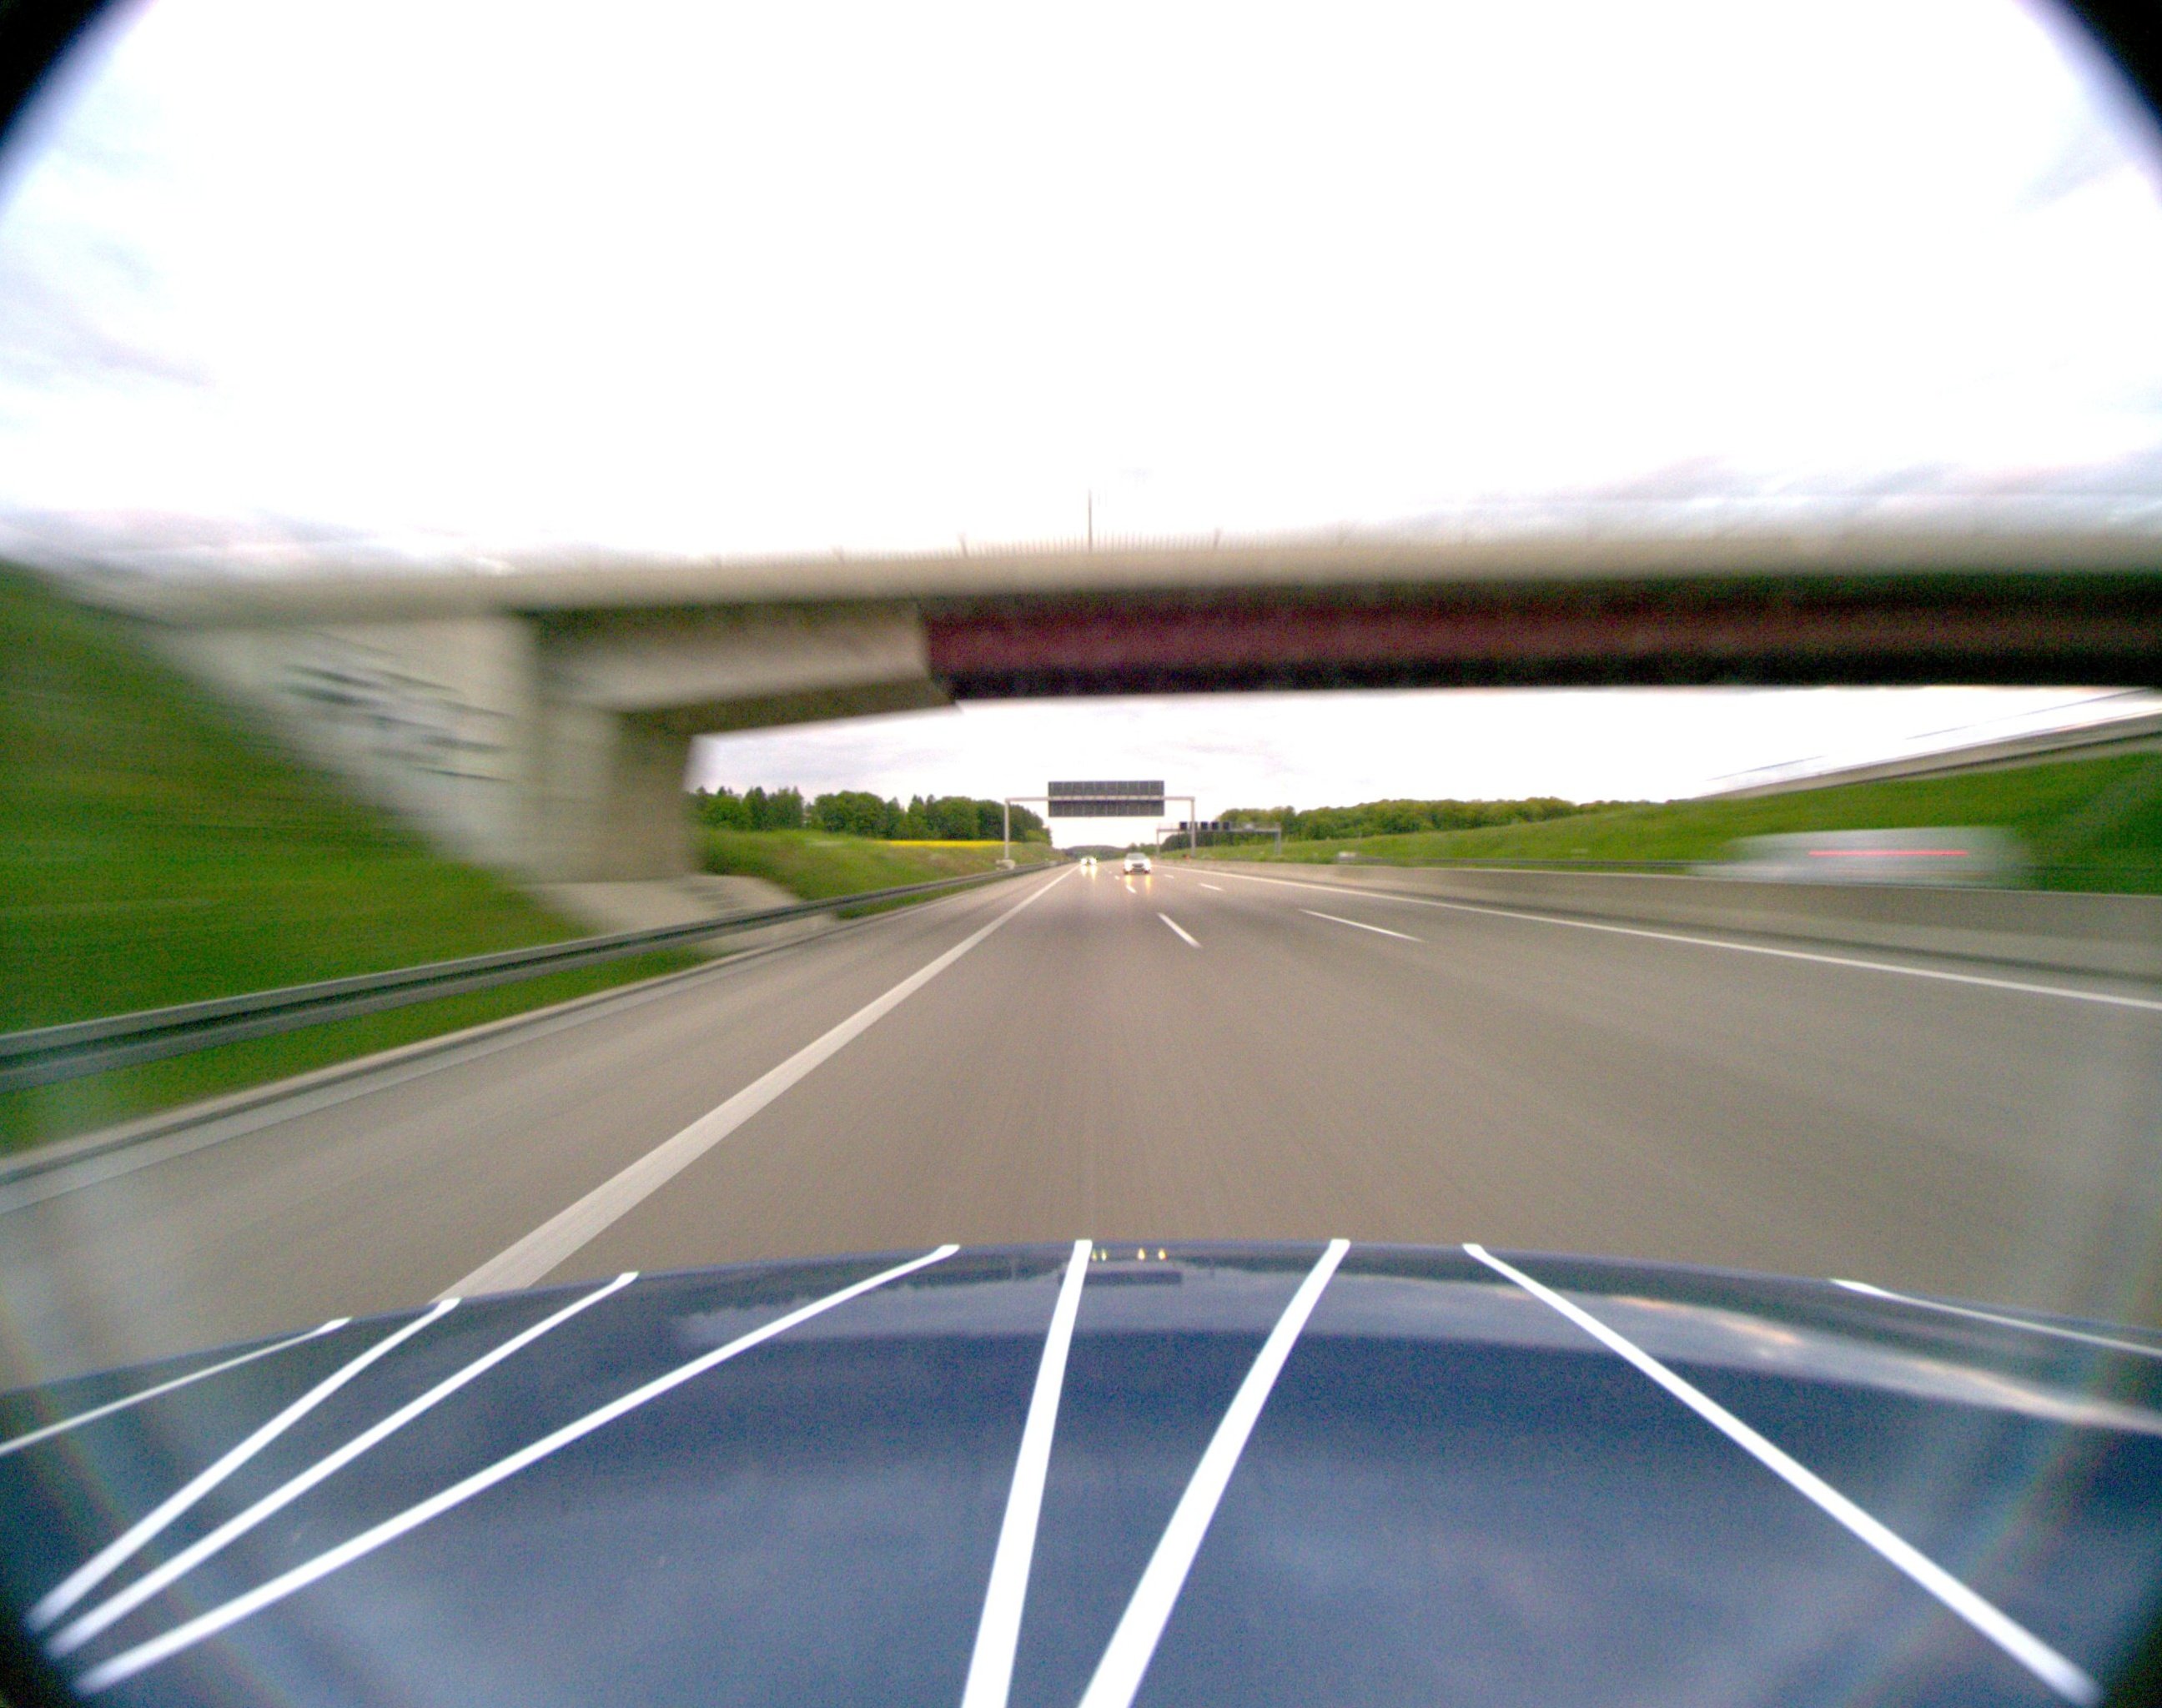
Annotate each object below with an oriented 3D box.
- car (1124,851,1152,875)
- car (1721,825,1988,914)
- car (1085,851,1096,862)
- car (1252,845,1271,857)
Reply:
[{"bbox_3d":[4.461,0.660,60.429,1.857,1.683,5.511,-1,1,1],"label":"car"},{"bbox_3d":[19.308,0.345,19.378,1.827,1.924,4.894,-2,0,1],"label":"car"},{"bbox_3d":[1.550,0.434,124.097,1.801,1.674,4.384,-1,1,1],"label":"car"},{"bbox_3d":[24.117,-0.373,101.405,1.606,1.548,4.000,-2,0,1],"label":"car"}]
